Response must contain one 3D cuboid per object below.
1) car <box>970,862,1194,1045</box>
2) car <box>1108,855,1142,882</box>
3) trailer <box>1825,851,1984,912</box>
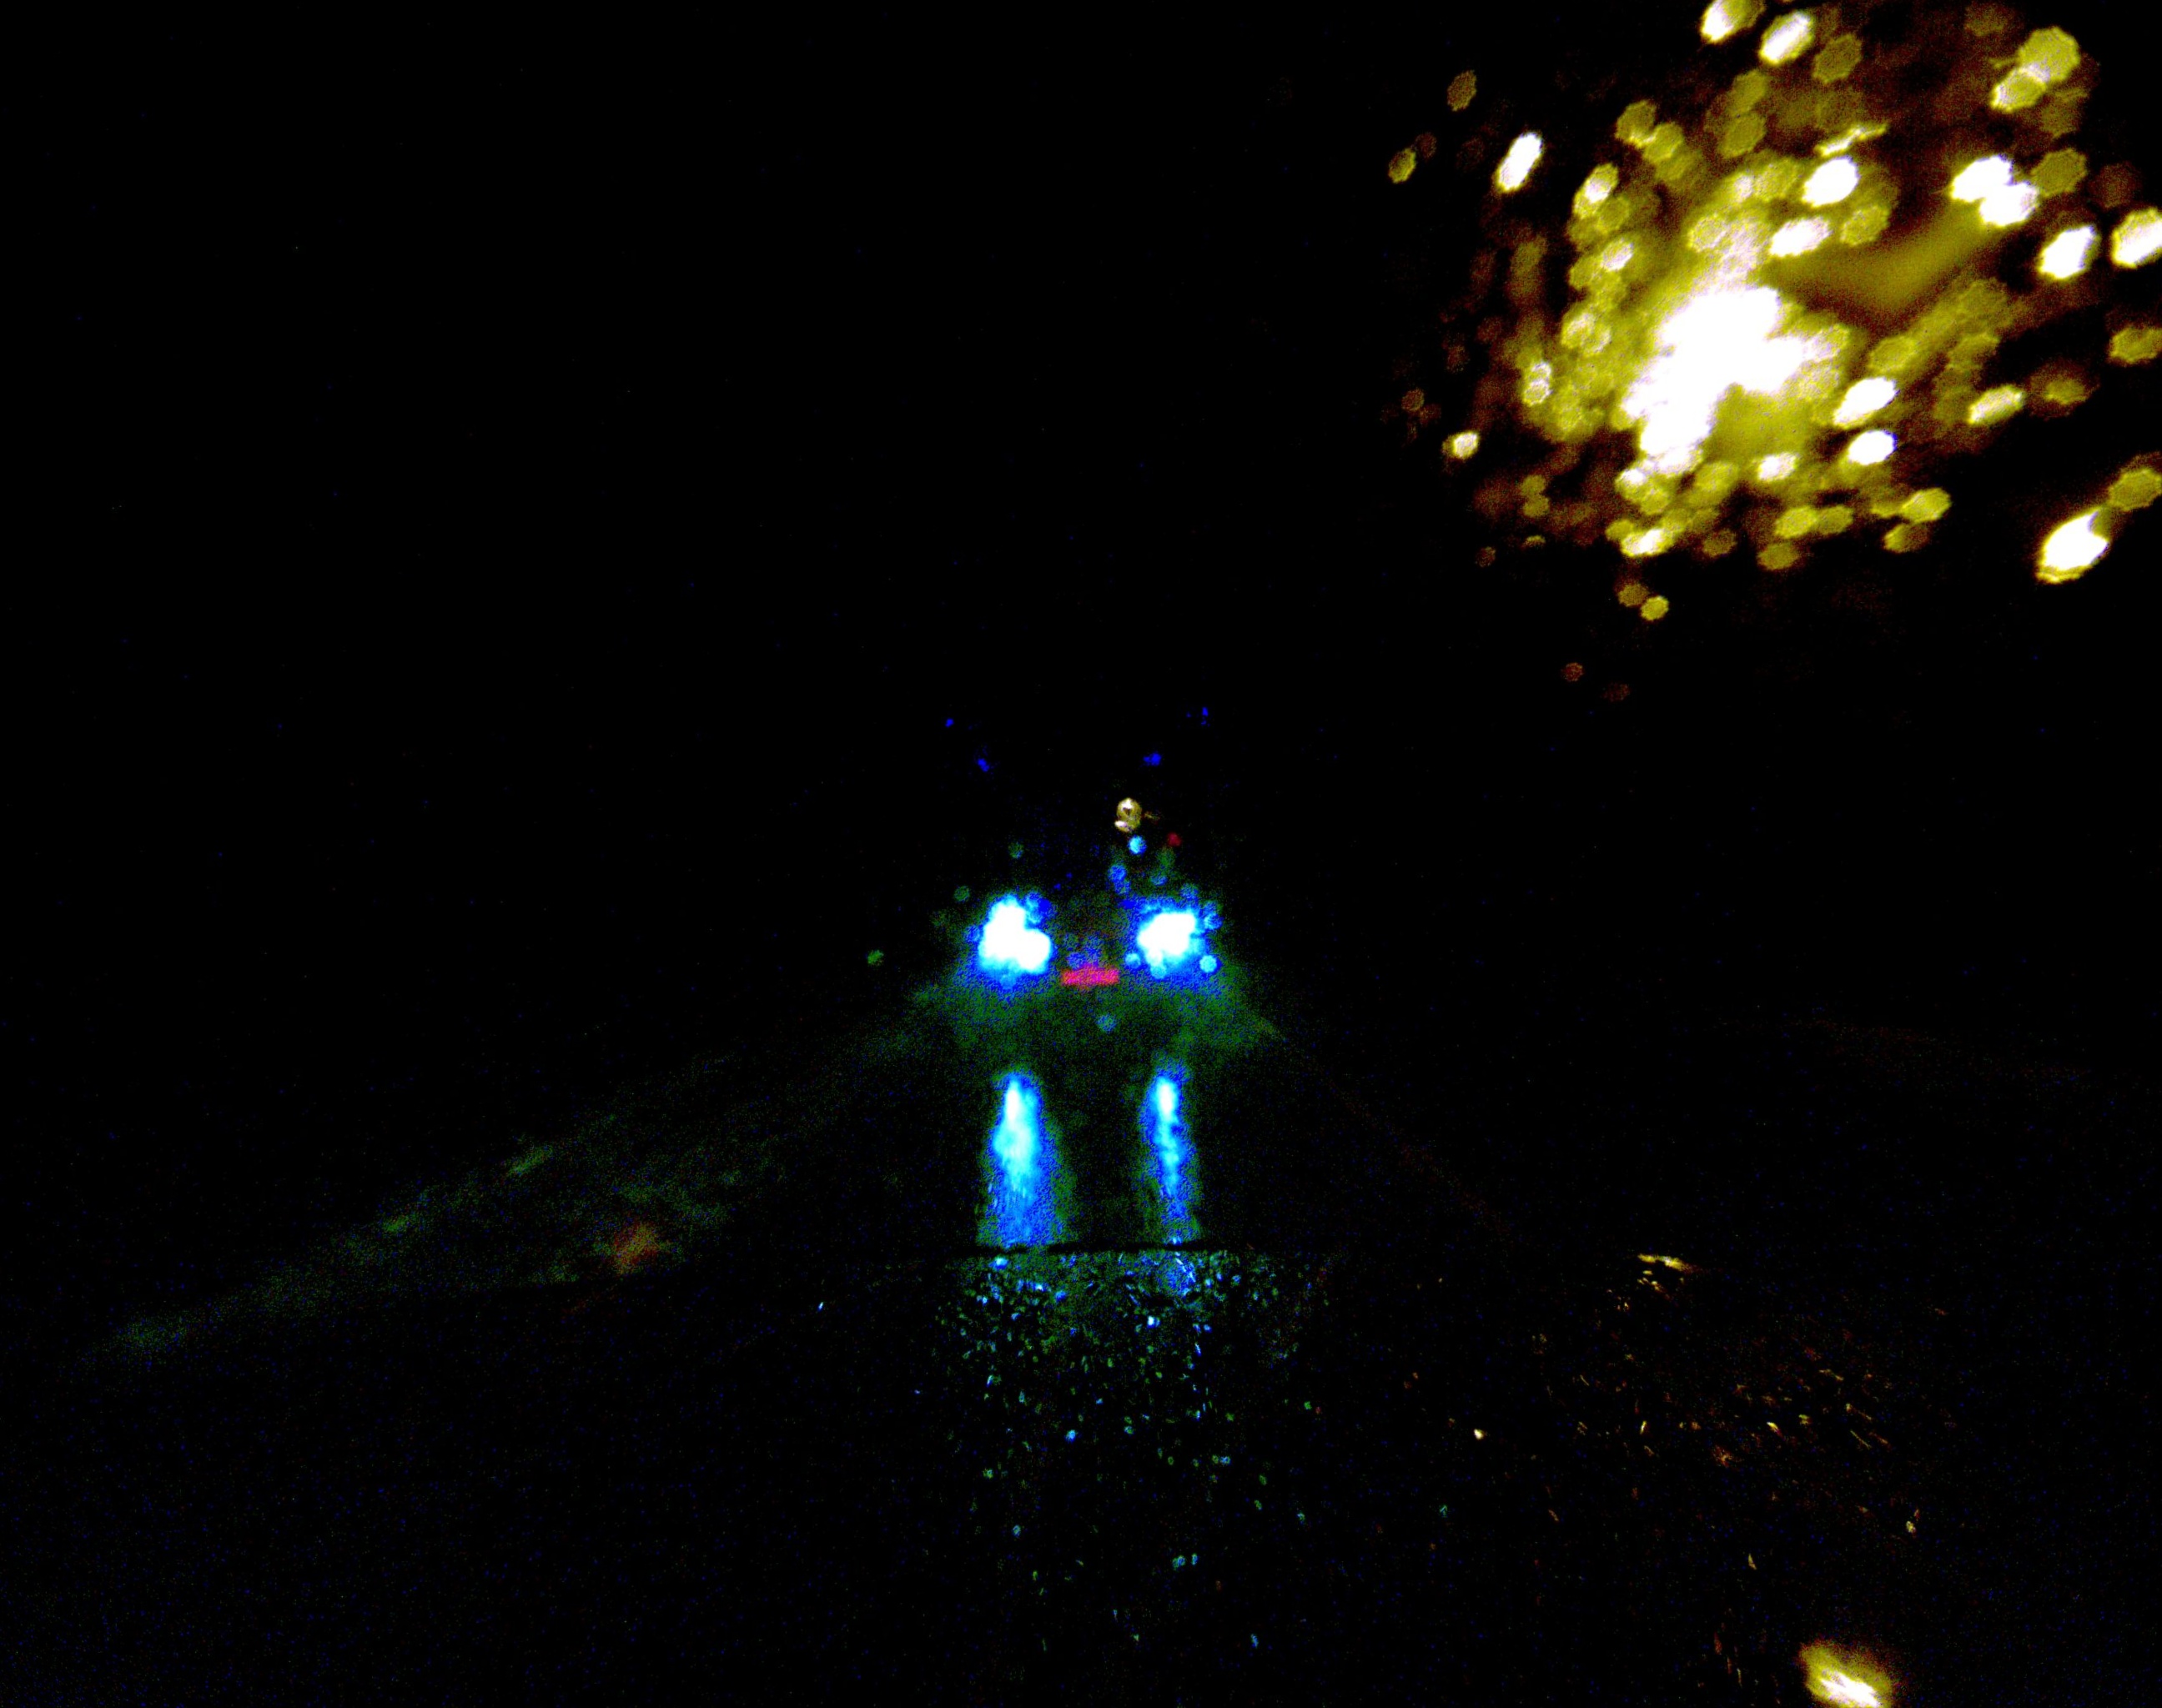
[{"bbox_3d":[0.067,0.901,9.066,1.944,1.580,4.776,-1,0,1],"label":"car"},{"bbox_3d":[2.650,0.922,46.531,1.878,1.535,4.357,1,-2,2],"label":"car"},{"bbox_3d":[33.555,1.068,31.111,3.801,2.205,1.976,2,2,19],"label":"trailer"}]
